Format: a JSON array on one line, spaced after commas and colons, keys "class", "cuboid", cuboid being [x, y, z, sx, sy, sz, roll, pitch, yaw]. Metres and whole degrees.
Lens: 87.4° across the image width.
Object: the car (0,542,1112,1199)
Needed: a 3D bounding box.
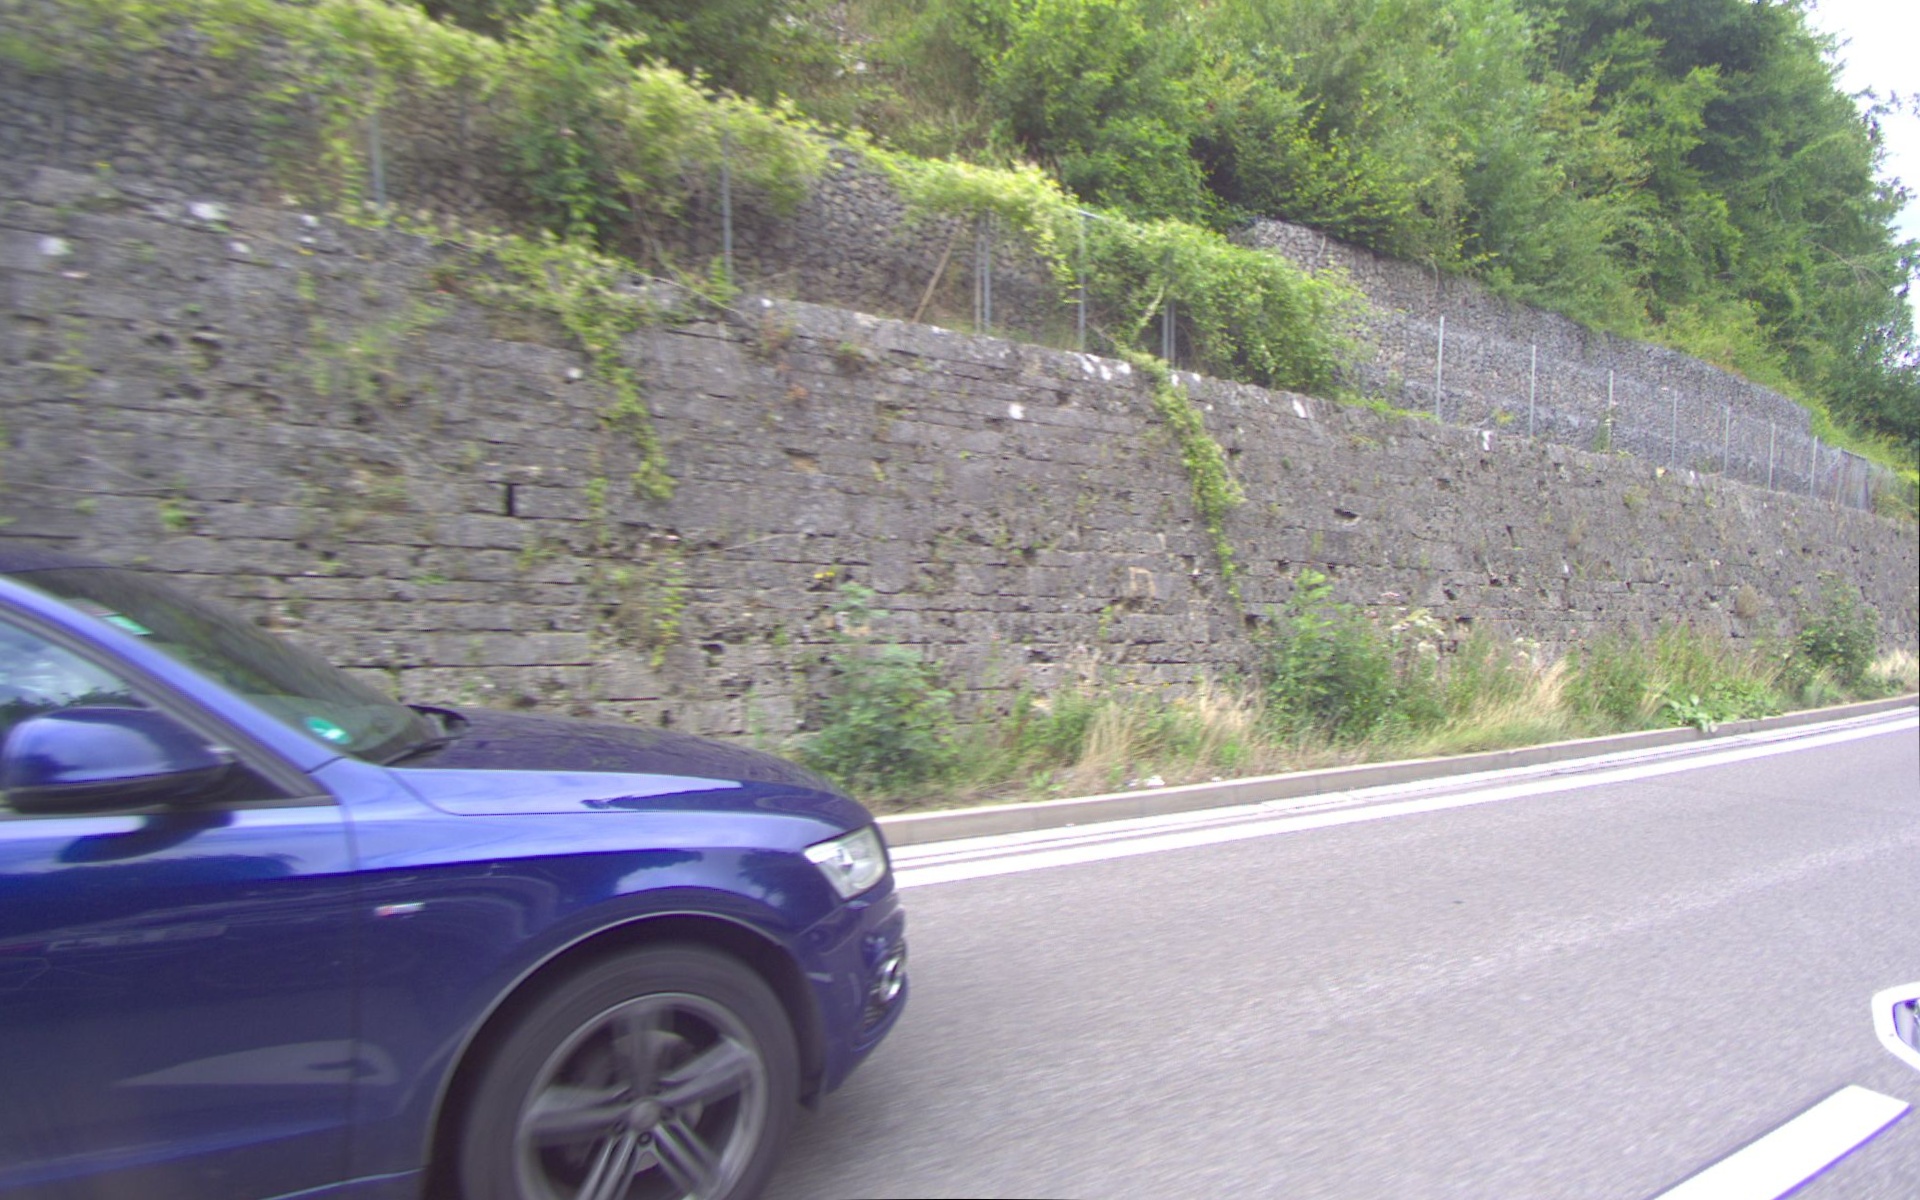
[{"class": "car", "cuboid": [-2.491, 0.670, 2.223, 5.518, 1.614, 1.962, 2, 1, -29]}]
